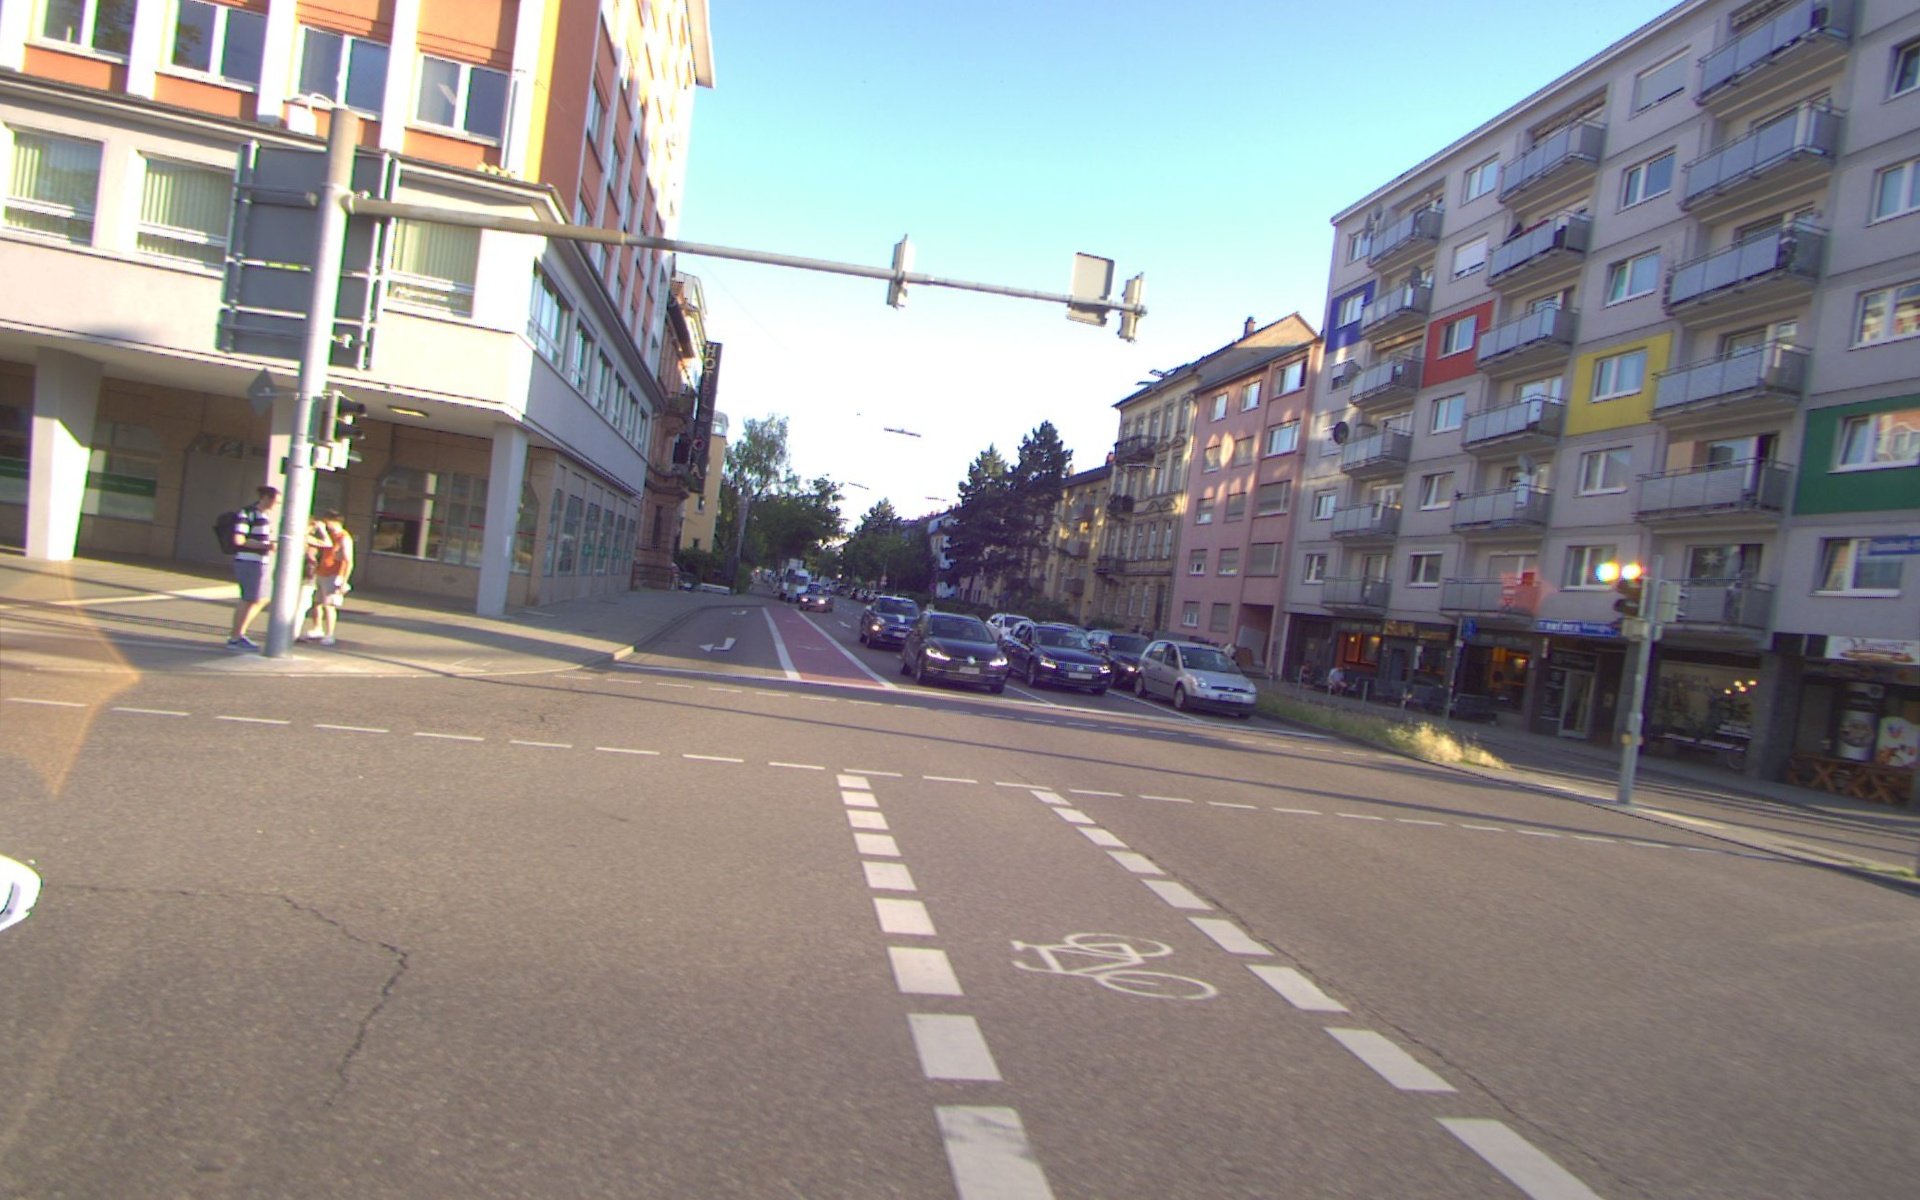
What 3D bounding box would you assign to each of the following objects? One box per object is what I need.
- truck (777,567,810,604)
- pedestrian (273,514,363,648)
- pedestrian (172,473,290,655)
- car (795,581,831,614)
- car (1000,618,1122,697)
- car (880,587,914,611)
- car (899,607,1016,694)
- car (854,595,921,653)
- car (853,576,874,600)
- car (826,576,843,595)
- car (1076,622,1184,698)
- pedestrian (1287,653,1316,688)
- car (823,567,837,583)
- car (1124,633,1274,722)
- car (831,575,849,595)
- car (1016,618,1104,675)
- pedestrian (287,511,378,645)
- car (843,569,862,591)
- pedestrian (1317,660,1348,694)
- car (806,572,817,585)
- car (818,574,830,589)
[{"bbox_3d":[-12.071,-1.032,73.055,1.966,2.372,3.993,8,0,-8],"label":"truck"},{"bbox_3d":[-8.495,-0.247,13.339,0.696,1.665,0.517,7,1,-9],"label":"pedestrian"},{"bbox_3d":[-8.519,-0.412,11.794,0.838,1.982,0.697,7,1,-26],"label":"pedestrian"},{"bbox_3d":[-8.476,-0.148,58.358,1.711,1.595,4.106,8,-1,-6],"label":"car"},{"bbox_3d":[2.301,1.306,24.128,1.965,1.486,4.239,6,-1,-6],"label":"car"},{"bbox_3d":[-5.747,-0.109,91.046,1.971,1.806,3.986,8,-1,-17],"label":"car"},{"bbox_3d":[-0.163,0.974,21.119,1.898,1.443,4.186,6,-1,-6],"label":"car"},{"bbox_3d":[-2.311,0.701,31.384,1.773,1.469,3.921,8,-1,-6],"label":"car"},{"bbox_3d":[-11.571,-1.366,120.267,1.967,2.550,3.993,8,-1,-10],"label":"car"},{"bbox_3d":[-18.861,-2.124,151.025,1.967,2.550,3.993,8,-1,-10],"label":"car"},{"bbox_3d":[4.502,1.561,27.310,1.630,1.540,4.176,8,0,-6],"label":"car"},{"bbox_3d":[14.383,2.962,42.405,0.887,1.313,1.048,8,0,14],"label":"pedestrian"},{"bbox_3d":[-22.769,-4.384,175.935,1.967,2.550,3.993,8,-1,-10],"label":"car"},{"bbox_3d":[5.244,1.661,22.634,1.886,1.486,4.009,8,-1,-6],"label":"car"},{"bbox_3d":[-16.655,-2.059,139.346,1.967,2.550,3.993,8,-1,-10],"label":"car"},{"bbox_3d":[3.380,1.560,34.841,1.677,1.513,4.531,8,-1,-10],"label":"car"},{"bbox_3d":[-8.642,-0.301,13.870,0.759,1.714,0.517,7,1,-9],"label":"pedestrian"},{"bbox_3d":[-13.989,-2.601,131.058,1.967,2.550,3.993,8,-1,-10],"label":"car"},{"bbox_3d":[14.696,3.027,39.748,0.887,1.180,1.048,8,0,14],"label":"pedestrian"},{"bbox_3d":[-32.972,-4.771,223.763,1.967,2.550,3.993,8,-1,-10],"label":"car"},{"bbox_3d":[-25.755,-3.435,190.492,1.967,2.550,3.993,8,-1,-10],"label":"car"}]
